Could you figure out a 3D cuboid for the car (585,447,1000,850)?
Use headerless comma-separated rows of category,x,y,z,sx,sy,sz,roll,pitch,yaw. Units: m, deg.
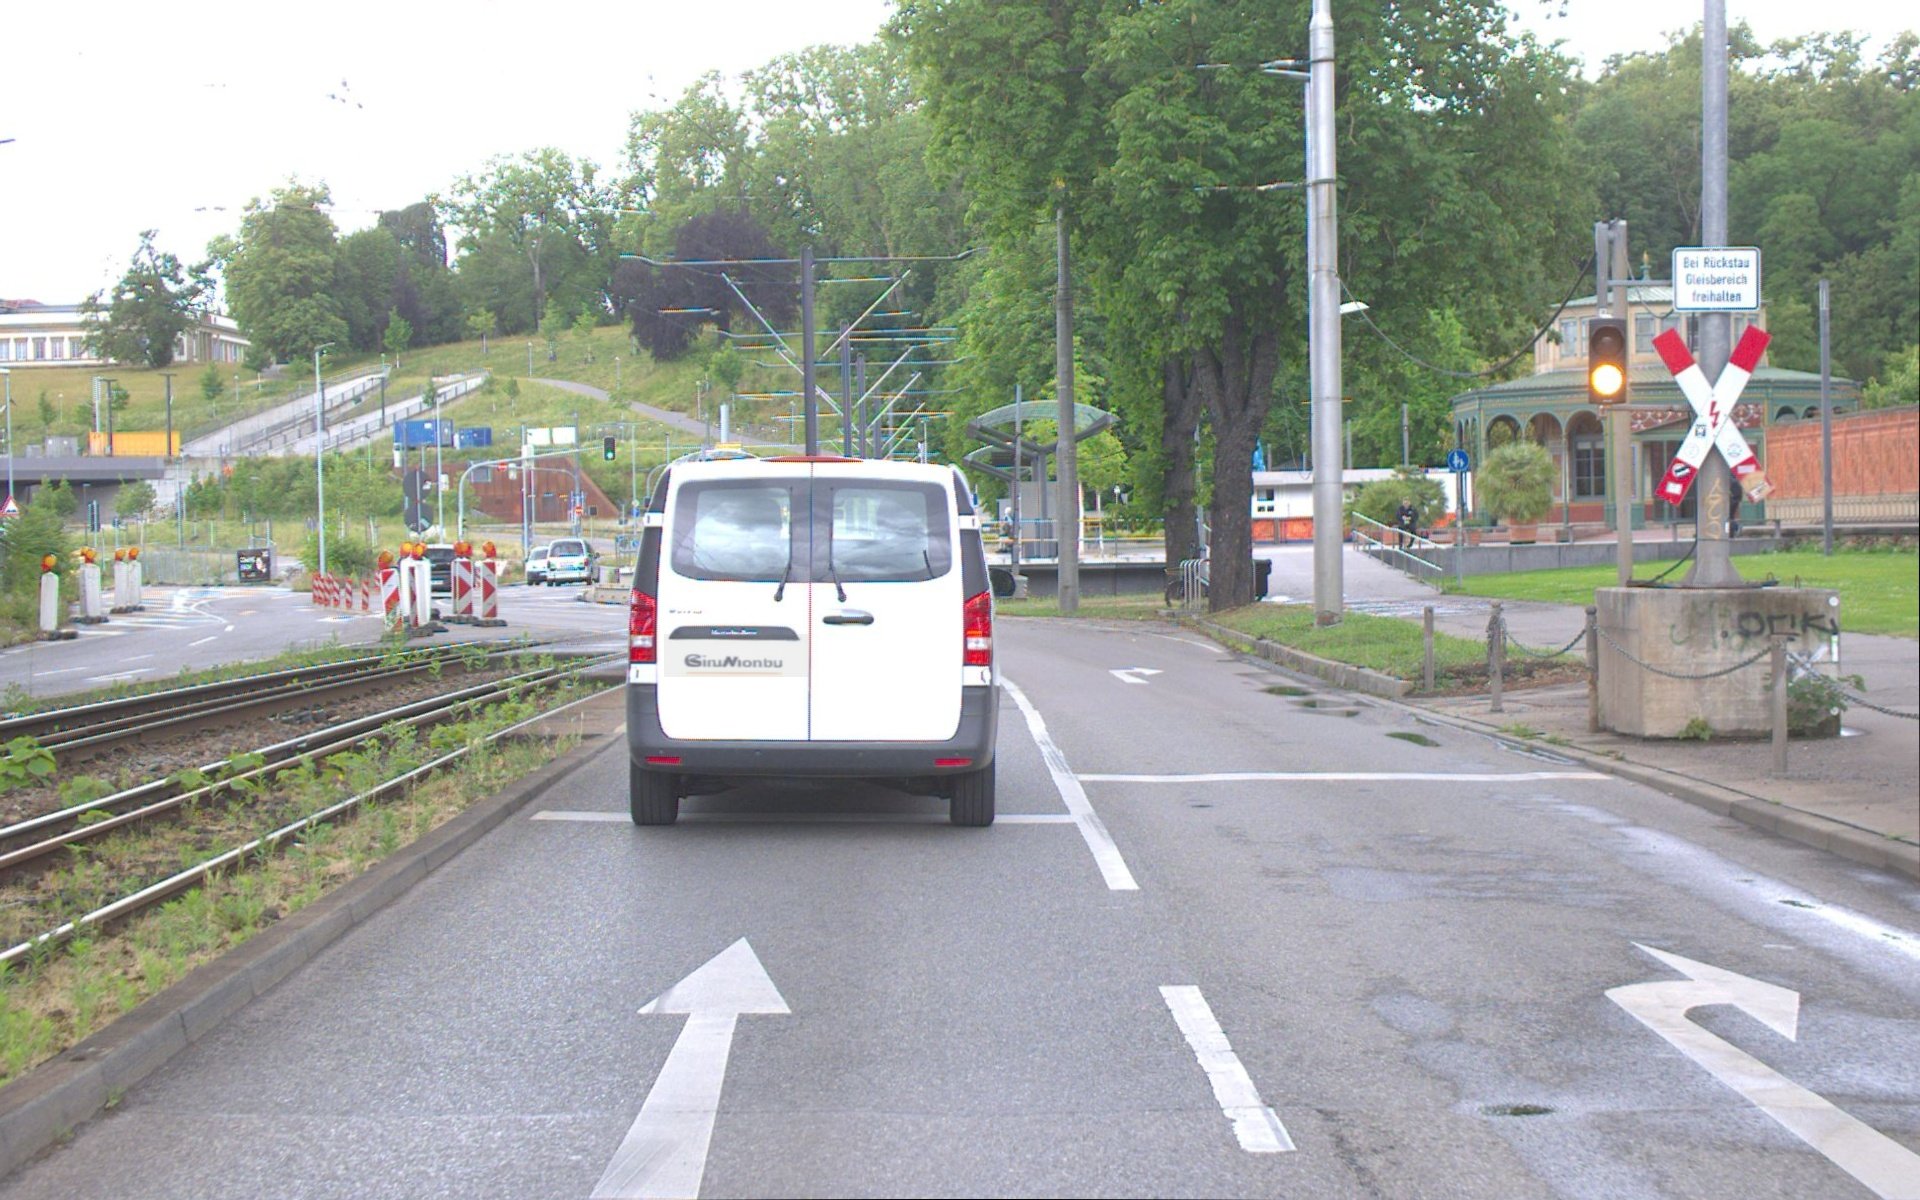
car,-0.833,0.206,18.520,1.959,1.897,4.462,0,1,-1

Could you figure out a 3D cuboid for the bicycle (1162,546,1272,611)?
bicycle,4.773,-0.407,63.855,1.991,1.154,0.741,-1,1,5

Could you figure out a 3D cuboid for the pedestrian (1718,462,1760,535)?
pedestrian,19.777,-2.583,87.293,0.949,1.831,0.549,1,0,7

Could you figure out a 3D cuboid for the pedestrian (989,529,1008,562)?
pedestrian,1.383,-1.950,123.136,0.657,1.187,0.675,1,0,2

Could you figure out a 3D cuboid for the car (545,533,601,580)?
car,-15.132,-1.705,134.622,1.752,1.766,4.000,1,0,0

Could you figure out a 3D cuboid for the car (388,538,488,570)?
car,-27.307,-2.414,179.937,4.711,1.472,1.999,-2,2,10

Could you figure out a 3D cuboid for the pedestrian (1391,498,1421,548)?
pedestrian,10.817,-1.870,83.351,0.548,1.197,0.669,1,0,-7

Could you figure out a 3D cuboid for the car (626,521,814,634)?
car,-3.534,-0.339,49.993,1.838,1.577,4.063,0,1,-17

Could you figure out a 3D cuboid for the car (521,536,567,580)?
car,-19.353,-1.959,160.166,1.934,2.007,4.001,1,0,-4
